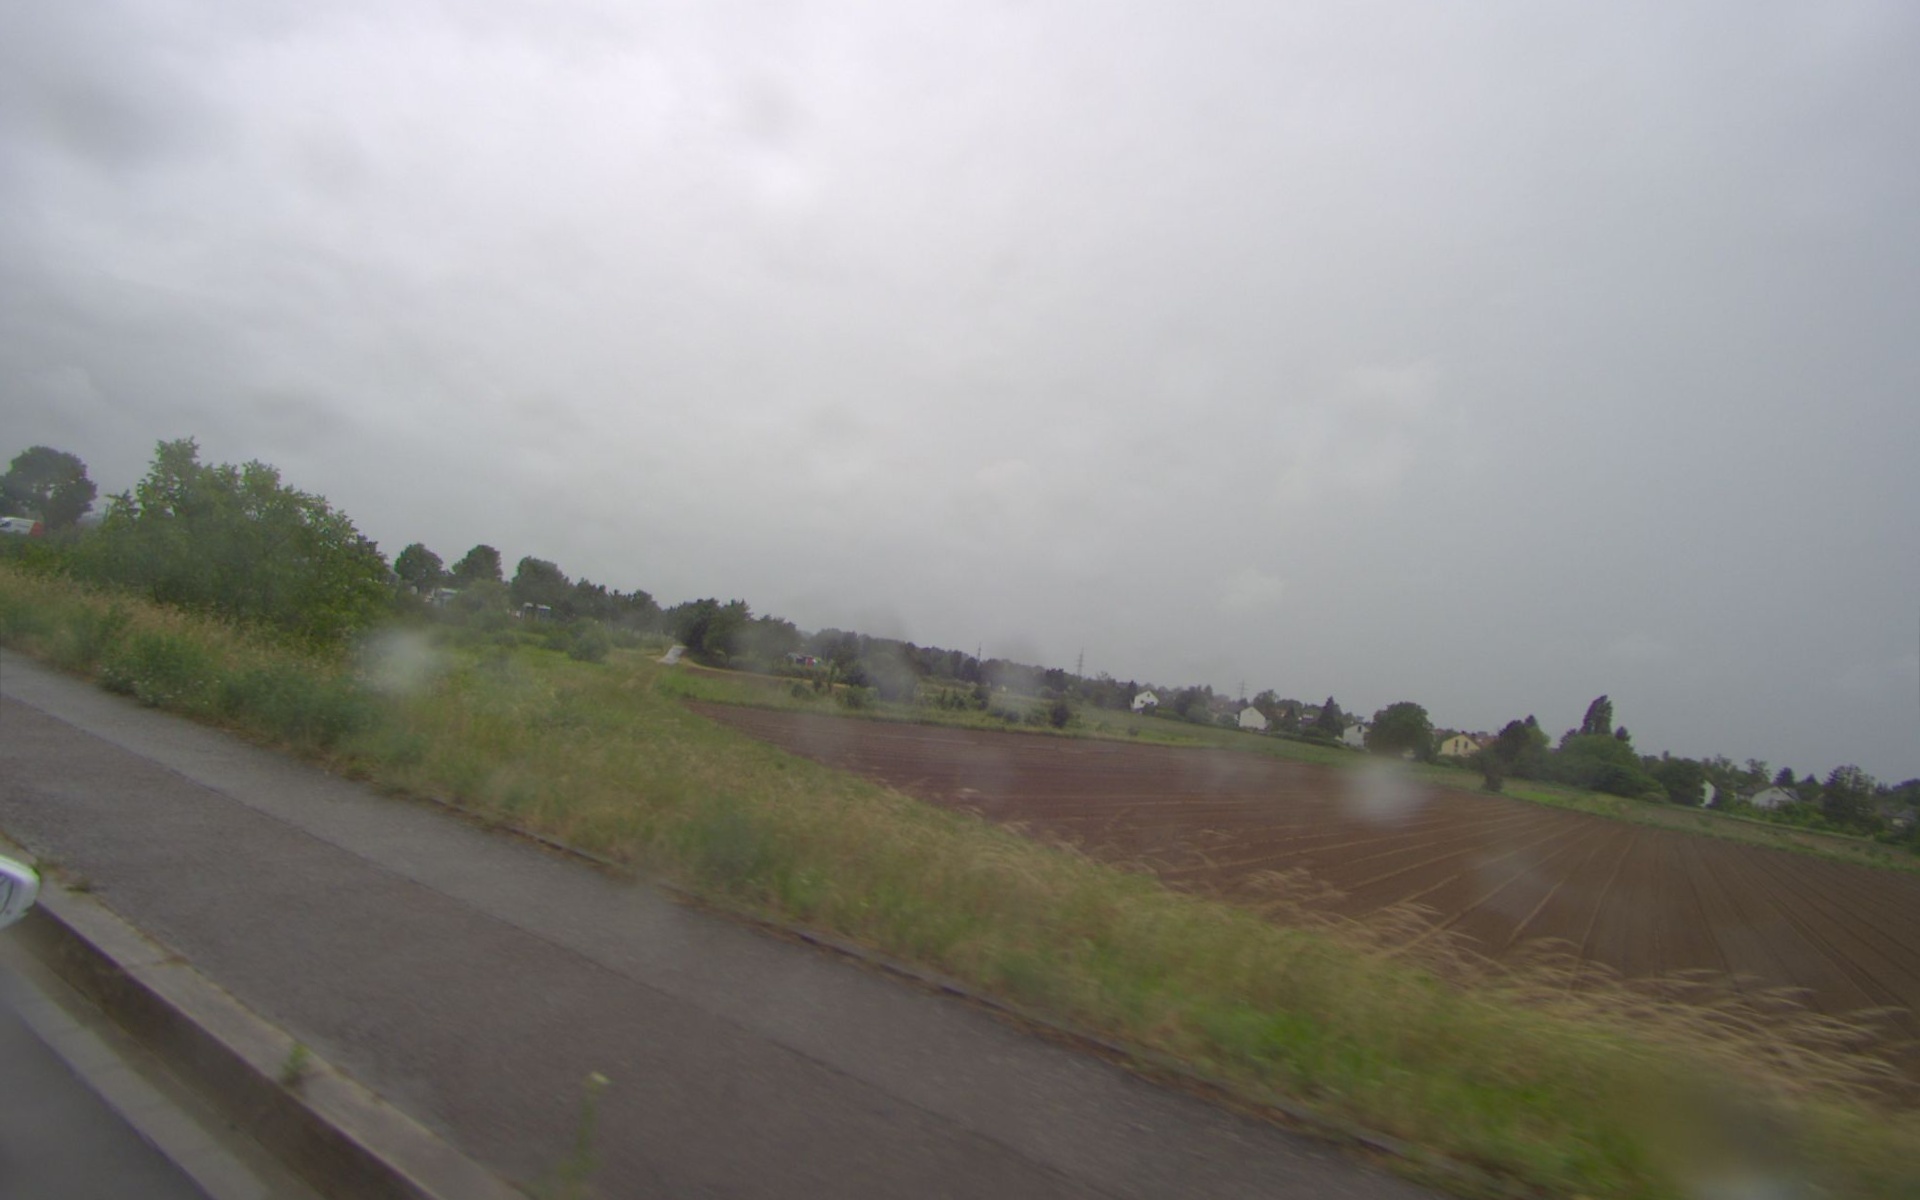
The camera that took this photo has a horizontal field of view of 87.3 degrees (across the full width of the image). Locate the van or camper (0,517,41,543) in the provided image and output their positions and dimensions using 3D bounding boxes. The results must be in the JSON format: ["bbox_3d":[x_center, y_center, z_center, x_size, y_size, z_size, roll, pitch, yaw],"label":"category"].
[{"bbox_3d":[-123.088,-9.192,131.041,1.990,2.377,4.681,6,-7,44],"label":"van or camper"}]
